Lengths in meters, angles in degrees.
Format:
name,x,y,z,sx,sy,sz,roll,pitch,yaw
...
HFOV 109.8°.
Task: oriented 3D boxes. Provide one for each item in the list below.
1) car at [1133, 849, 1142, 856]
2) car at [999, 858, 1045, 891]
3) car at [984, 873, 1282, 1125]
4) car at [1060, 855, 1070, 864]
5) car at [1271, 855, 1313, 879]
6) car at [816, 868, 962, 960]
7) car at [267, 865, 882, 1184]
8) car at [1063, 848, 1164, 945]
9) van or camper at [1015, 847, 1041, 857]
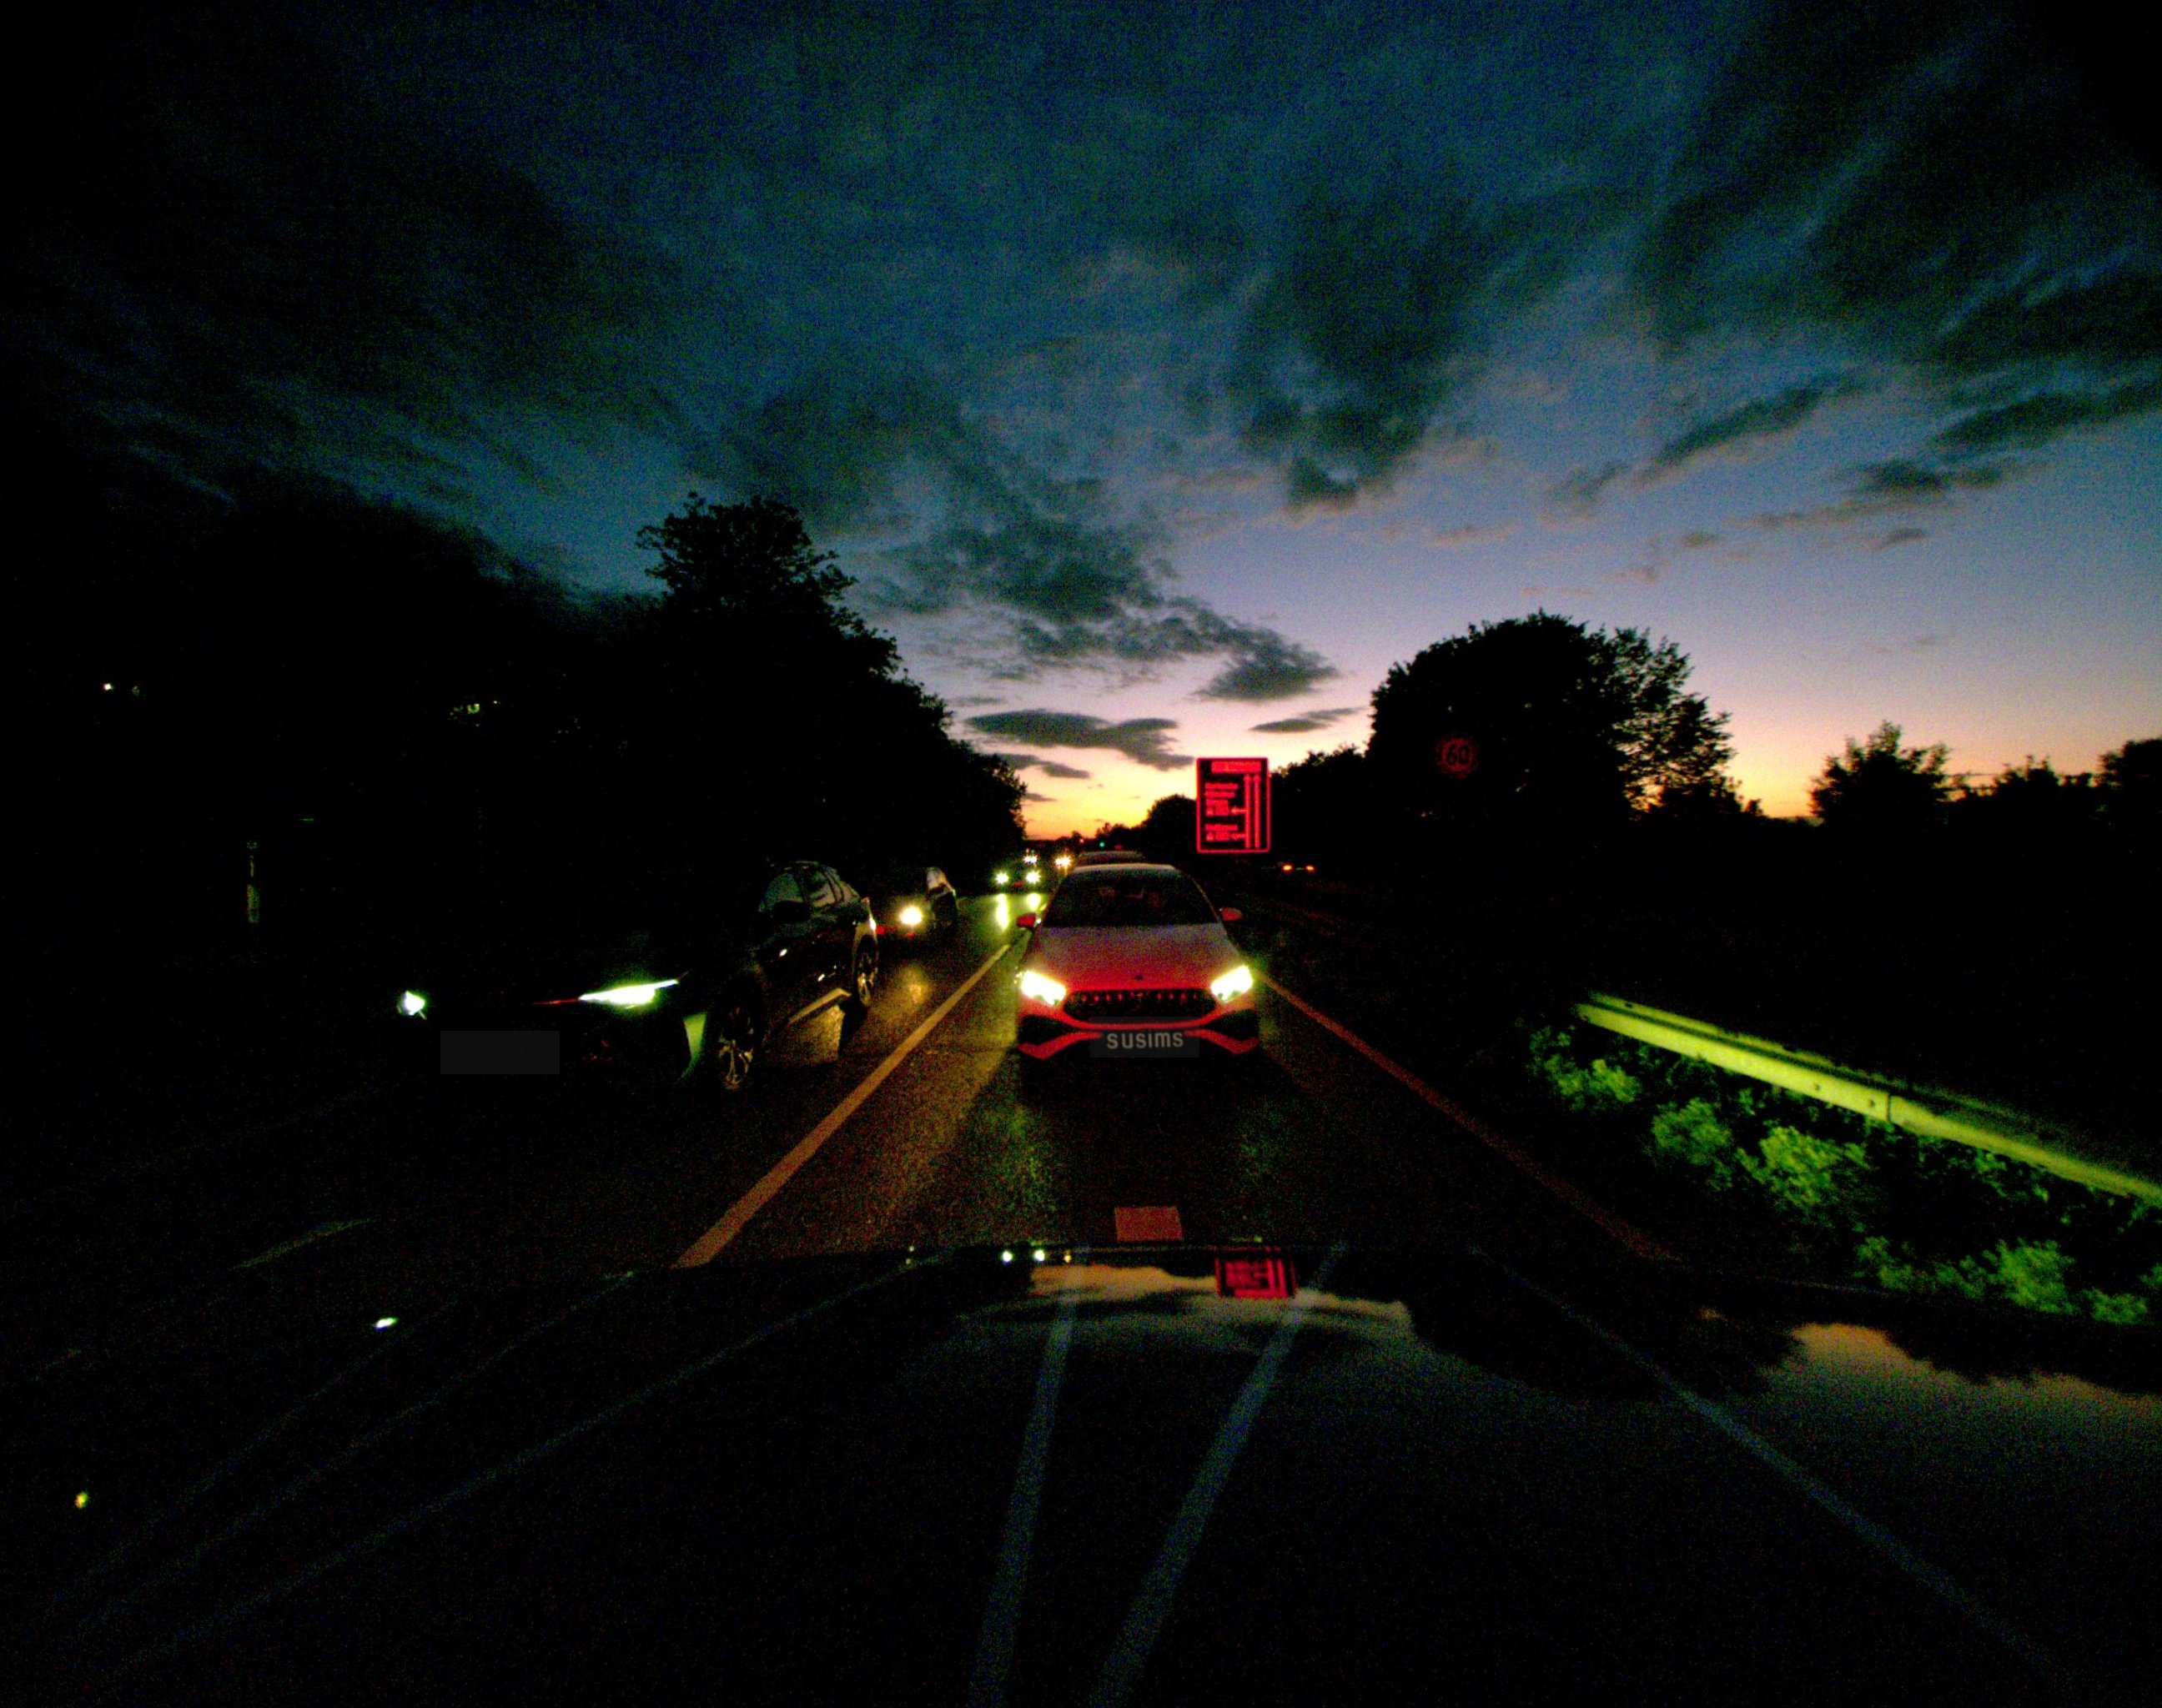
name,x,y,z,sx,sy,sz,roll,pitch,yaw
car,13.433,-0.353,179.636,1.781,1.551,4.000,-2,1,1
car,-2.794,0.953,36.865,1.819,1.360,3.999,-2,1,1
car,0.399,0.987,7.172,1.819,1.428,4.647,-3,0,2
car,-2.631,0.885,126.679,1.606,1.291,3.552,-2,1,-1
car,13.714,0.820,49.580,1.632,1.496,4.591,0,0,2
car,-3.373,1.000,14.057,1.621,1.405,3.756,-1,0,2
car,-3.215,0.926,6.115,1.901,1.547,4.301,-3,0,2
car,0.653,0.784,15.876,1.760,1.692,4.250,-2,0,2
van or camper,-16.497,-0.692,235.160,3.959,3.107,9.916,0,0,-32
